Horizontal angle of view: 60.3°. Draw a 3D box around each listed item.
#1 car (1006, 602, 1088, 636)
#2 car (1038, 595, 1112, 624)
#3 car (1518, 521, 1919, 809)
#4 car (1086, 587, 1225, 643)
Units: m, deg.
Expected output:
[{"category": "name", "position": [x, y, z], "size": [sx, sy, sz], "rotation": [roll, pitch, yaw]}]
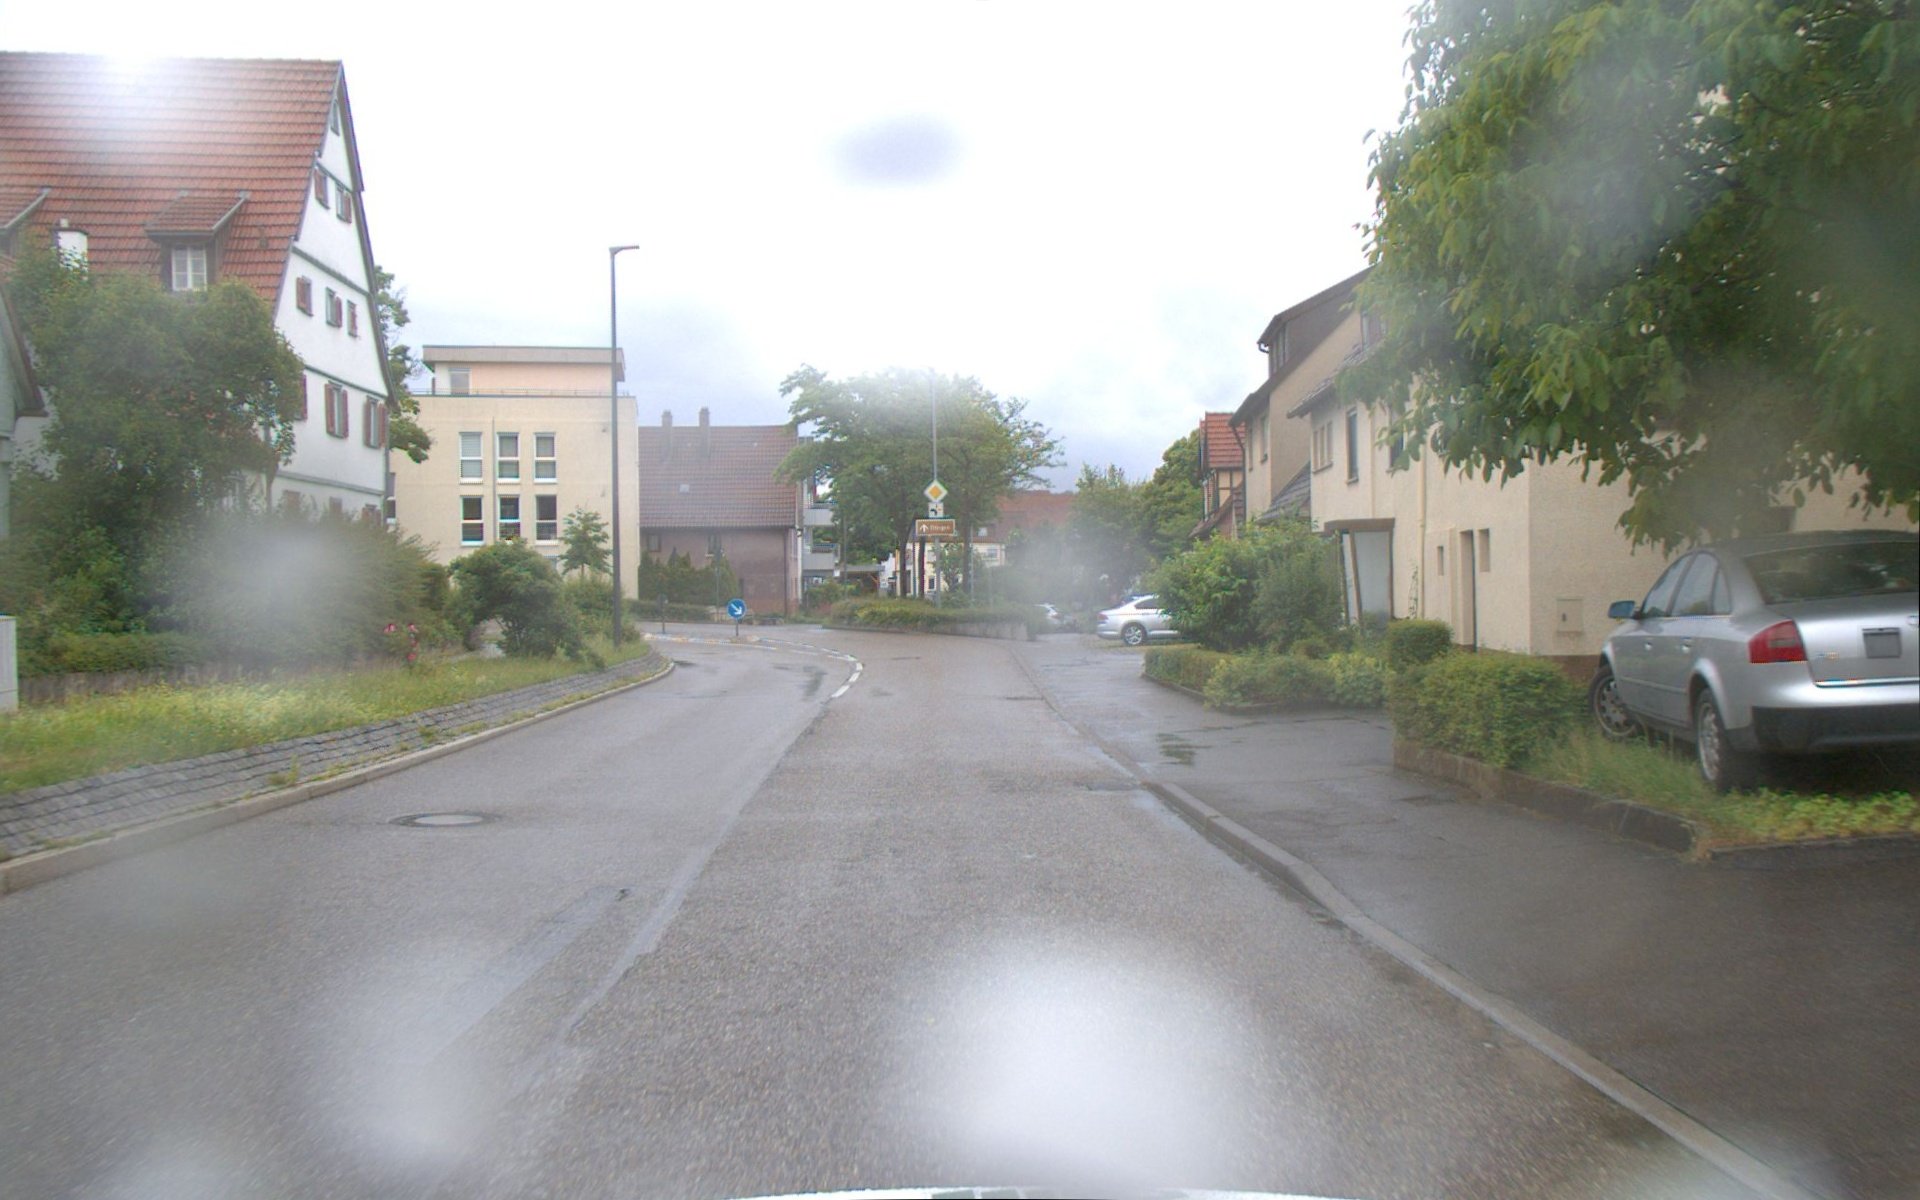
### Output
[{"category": "car", "position": [4.481, 0.979, 84.957], "size": [3.901, 1.654, 2.002], "rotation": [-1, 0, 11]}, {"category": "car", "position": [6.280, 0.511, 90.044], "size": [3.902, 1.444, 2.001], "rotation": [-1, 0, 5]}, {"category": "car", "position": [4.968, 0.316, 10.296], "size": [1.605, 1.455, 3.675], "rotation": [-1, 0, -3]}, {"category": "car", "position": [5.695, 0.429, 47.851], "size": [3.869, 1.433, 2.002], "rotation": [-2, 0, 9]}]
